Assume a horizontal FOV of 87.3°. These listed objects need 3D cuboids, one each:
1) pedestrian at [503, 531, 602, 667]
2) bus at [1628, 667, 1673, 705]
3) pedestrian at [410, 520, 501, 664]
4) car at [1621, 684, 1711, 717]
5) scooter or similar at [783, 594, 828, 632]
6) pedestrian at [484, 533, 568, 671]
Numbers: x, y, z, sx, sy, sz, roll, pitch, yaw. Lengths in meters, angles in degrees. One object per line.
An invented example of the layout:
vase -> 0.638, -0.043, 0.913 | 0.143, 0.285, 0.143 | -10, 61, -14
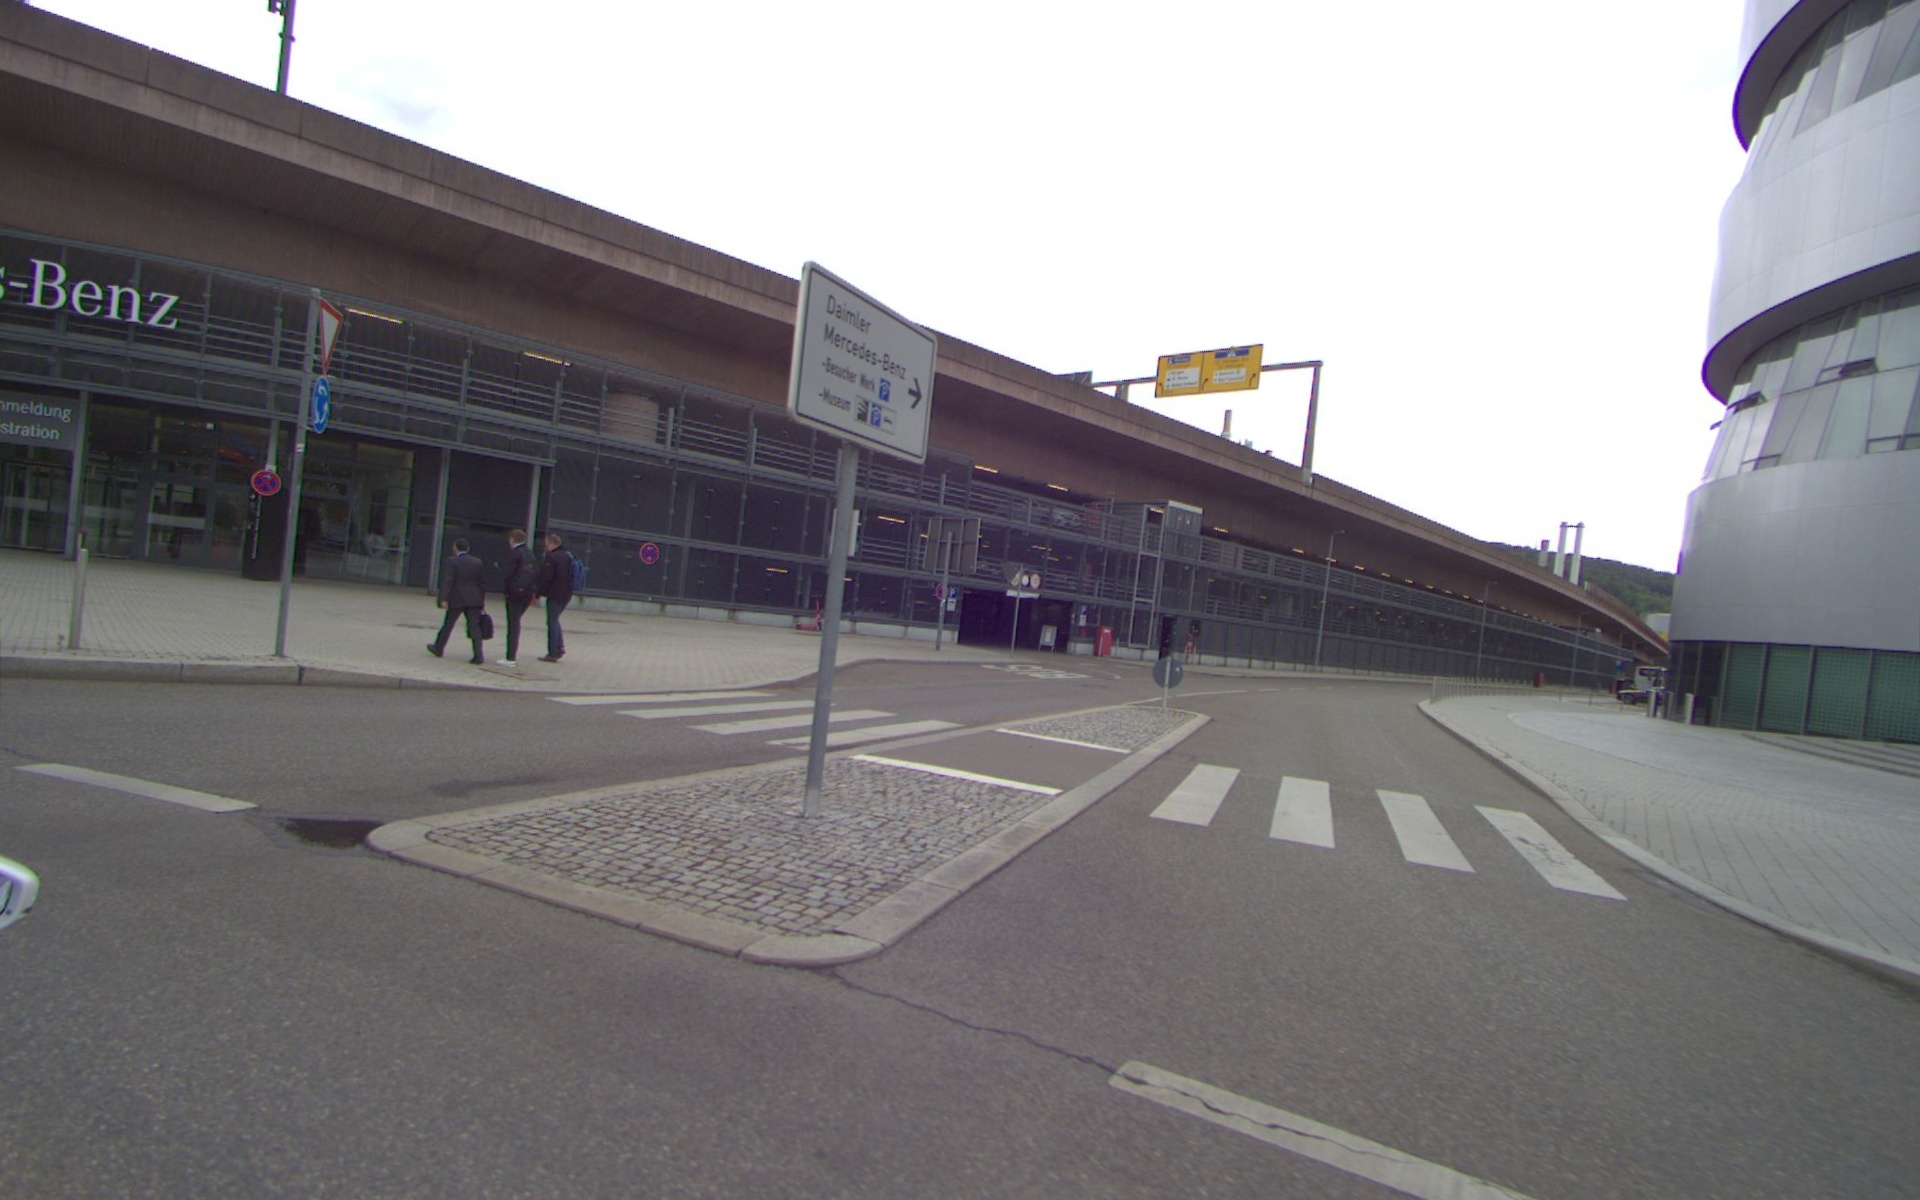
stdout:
pedestrian -> -5.874, -0.005, 14.519 | 0.771, 1.820, 0.863 | 8, 1, 36
bus -> 74.836, 9.307, 108.995 | 2.891, 3.483, 6.936 | 8, 0, 41
pedestrian -> -6.566, -0.109, 13.087 | 0.856, 1.726, 0.766 | 7, 1, -30
car -> 49.032, 6.966, 69.956 | 1.526, 1.415, 4.844 | 7, 0, -45
scooter or similar -> -5.268, 0.455, 34.363 | 1.419, 1.137, 0.376 | 8, 1, -43
pedestrian -> -5.835, 0.018, 13.507 | 0.778, 1.726, 0.766 | 7, 1, -30
